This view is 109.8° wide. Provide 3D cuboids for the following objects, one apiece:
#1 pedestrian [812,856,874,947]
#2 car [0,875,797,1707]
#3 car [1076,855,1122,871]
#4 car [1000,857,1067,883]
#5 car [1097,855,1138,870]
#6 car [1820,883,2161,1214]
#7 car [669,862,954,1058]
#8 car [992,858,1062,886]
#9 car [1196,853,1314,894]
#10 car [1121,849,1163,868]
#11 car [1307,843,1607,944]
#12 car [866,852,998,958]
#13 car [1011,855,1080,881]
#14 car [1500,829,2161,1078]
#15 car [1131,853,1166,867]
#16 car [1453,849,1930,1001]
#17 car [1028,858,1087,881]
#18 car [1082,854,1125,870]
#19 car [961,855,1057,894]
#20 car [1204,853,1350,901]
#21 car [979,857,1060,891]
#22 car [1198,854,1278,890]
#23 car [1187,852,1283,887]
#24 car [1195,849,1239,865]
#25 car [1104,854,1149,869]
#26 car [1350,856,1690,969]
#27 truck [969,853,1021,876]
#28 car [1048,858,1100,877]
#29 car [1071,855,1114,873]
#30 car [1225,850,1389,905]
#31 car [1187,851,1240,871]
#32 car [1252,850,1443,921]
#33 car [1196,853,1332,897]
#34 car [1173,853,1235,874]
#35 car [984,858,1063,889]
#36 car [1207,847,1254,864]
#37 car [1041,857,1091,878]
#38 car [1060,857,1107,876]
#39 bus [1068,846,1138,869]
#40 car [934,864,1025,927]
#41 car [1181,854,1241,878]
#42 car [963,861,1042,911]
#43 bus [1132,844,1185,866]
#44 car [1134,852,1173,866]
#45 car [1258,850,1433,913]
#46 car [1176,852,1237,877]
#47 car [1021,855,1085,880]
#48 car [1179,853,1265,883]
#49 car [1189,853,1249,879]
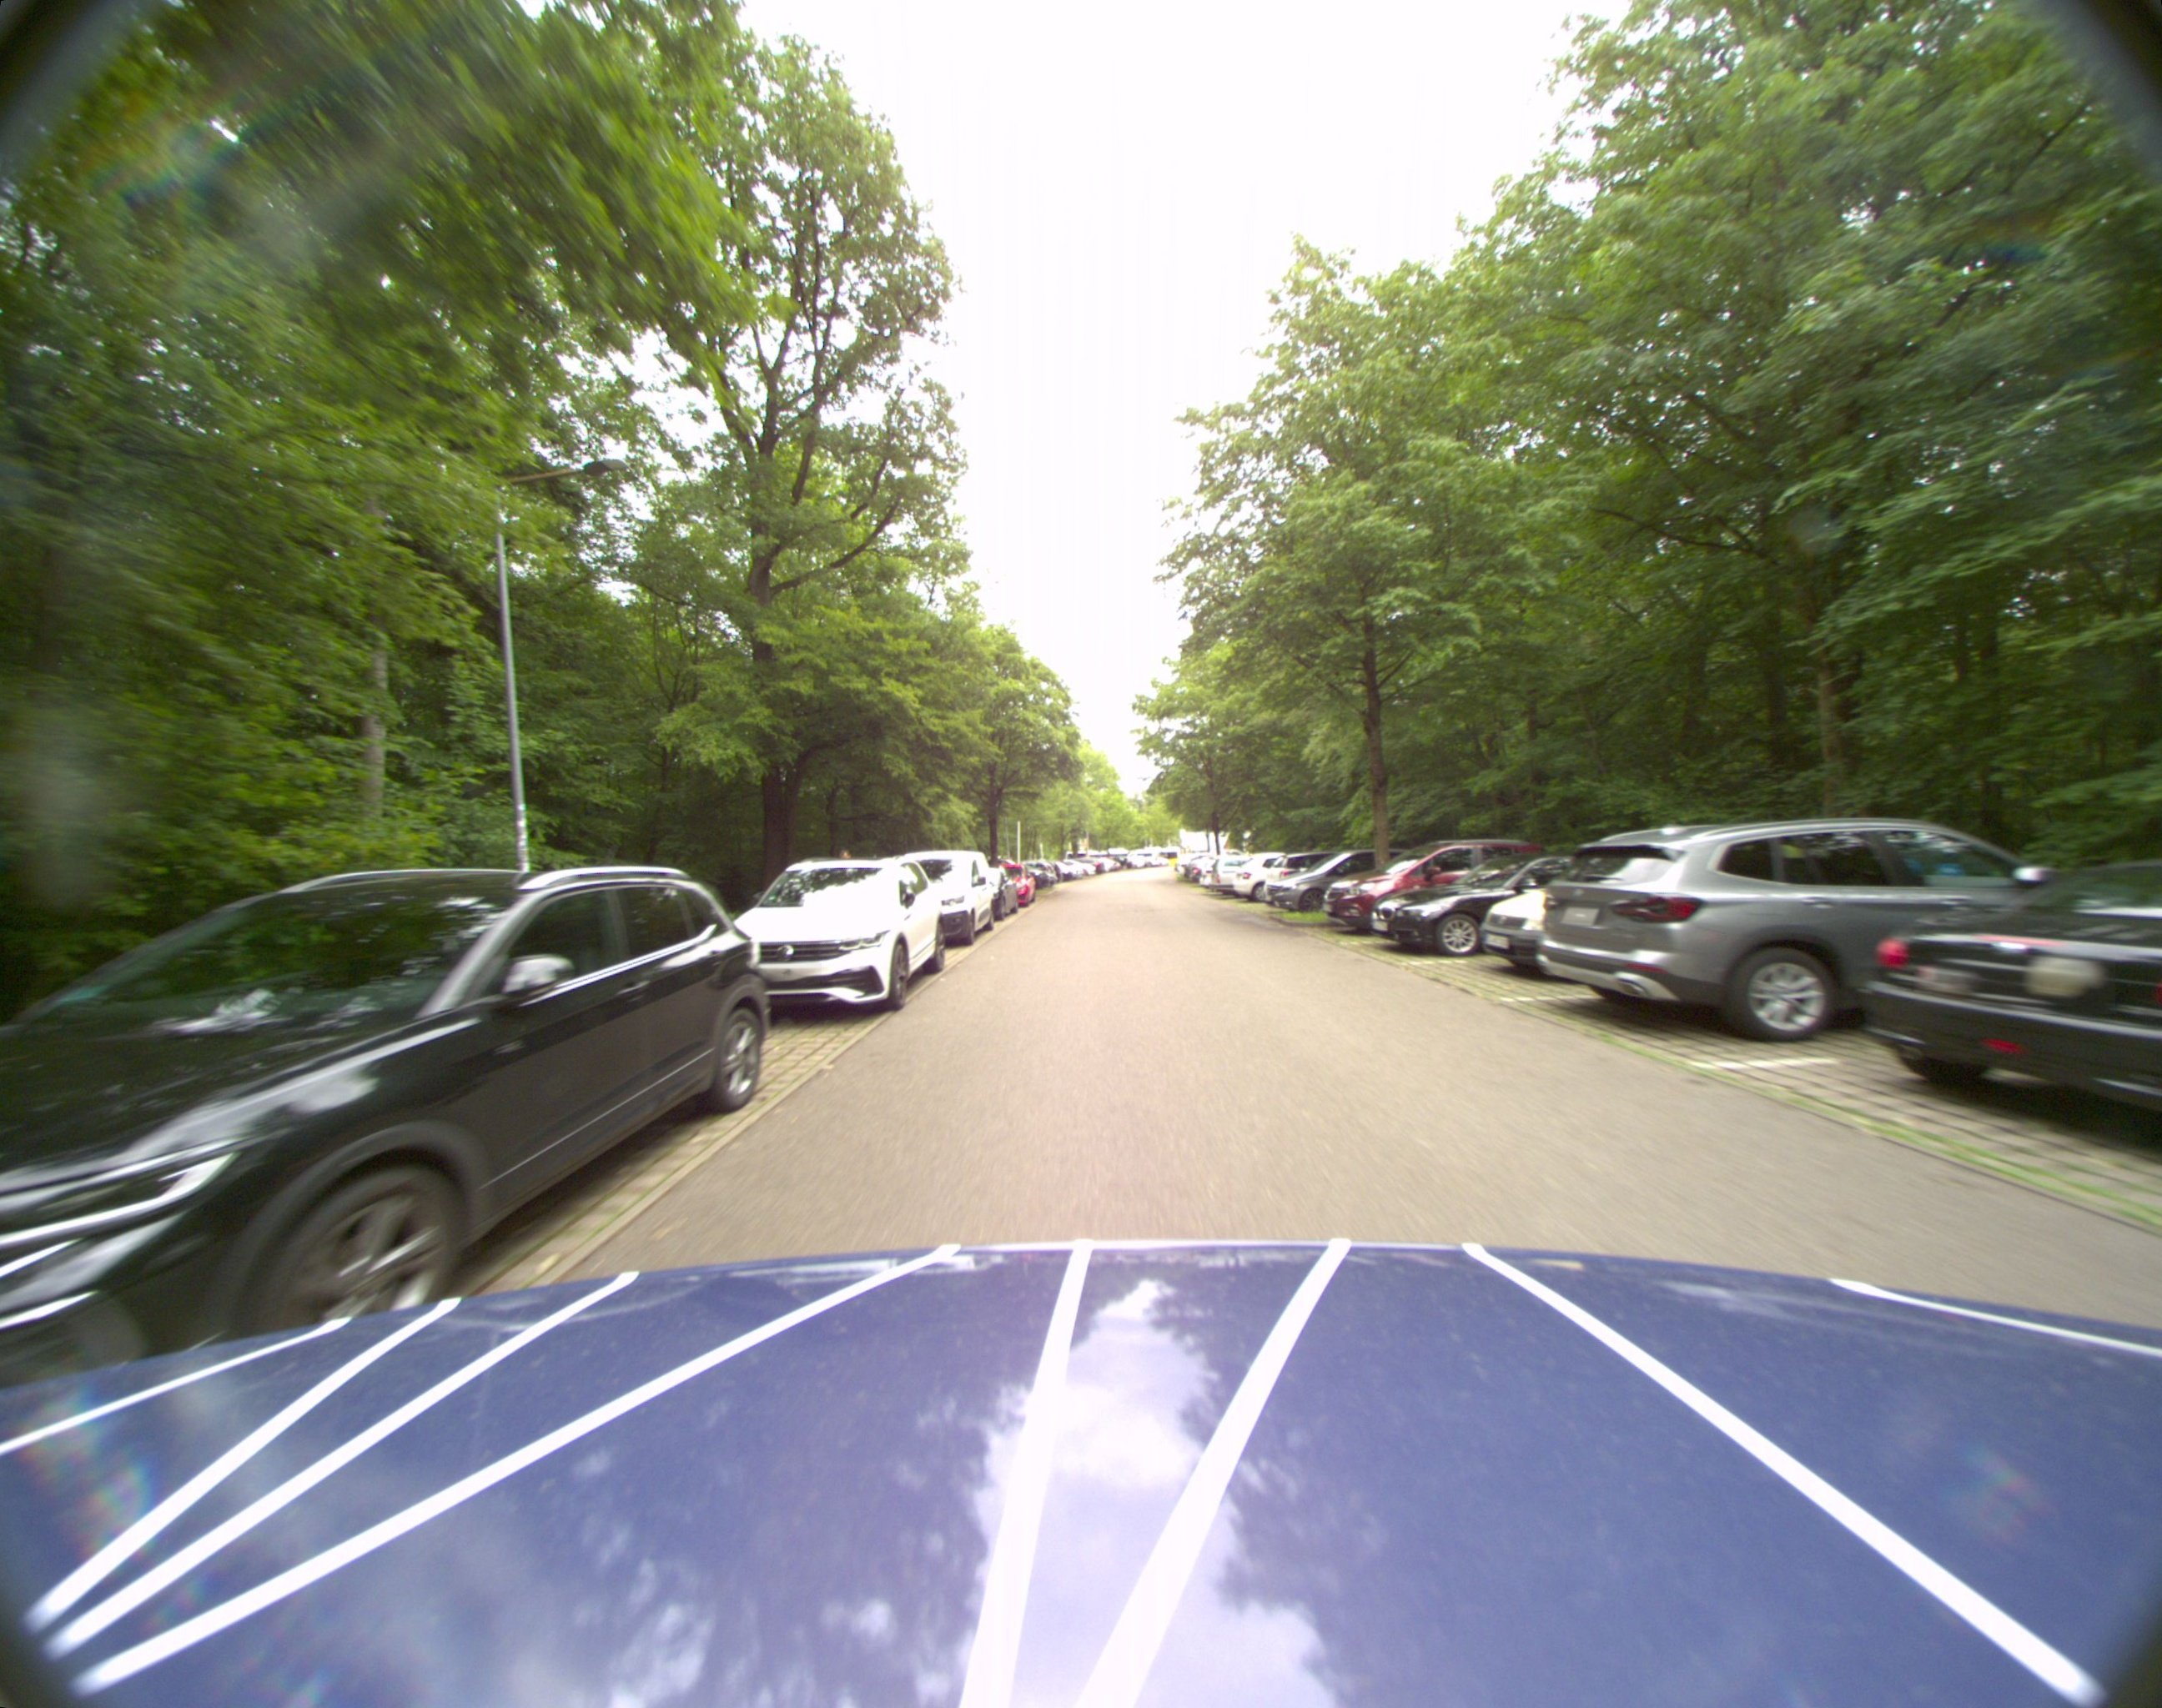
[{"bbox_3d":[-4.768,0.927,15.279,0.819,1.715,1.004,-3,0,2],"label":"pedestrian"},{"bbox_3d":[-3.044,0.984,3.515,1.755,1.598,4.446,-2,0,0],"label":"car"},{"bbox_3d":[1.761,0.878,74.230,4.132,1.453,1.867,-2,1,14],"label":"car"},{"bbox_3d":[-2.878,0.989,46.859,3.835,1.449,1.809,-2,1,6],"label":"car"},{"bbox_3d":[3.970,0.884,81.730,3.992,1.474,1.924,-2,0,16],"label":"car"},{"bbox_3d":[6.645,0.831,3.890,3.990,1.302,1.810,-3,0,-2],"label":"car"},{"bbox_3d":[-2.806,0.971,9.181,1.790,1.652,4.717,-2,0,-1],"label":"car"},{"bbox_3d":[-3.161,1.020,44.698,3.835,1.522,1.851,-1,0,5],"label":"car"},{"bbox_3d":[7.106,0.767,31.311,4.377,1.477,1.891,-2,1,0],"label":"car"},{"bbox_3d":[7.546,0.560,93.850,4.654,2.008,2.087,-4,-2,20],"label":"car"},{"bbox_3d":[6.727,0.678,13.972,4.526,1.575,1.927,-2,0,1],"label":"car"},{"bbox_3d":[-2.836,0.901,15.464,1.749,1.770,4.552,-2,0,0],"label":"car"},{"bbox_3d":[-2.281,0.897,49.527,4.196,1.503,1.894,-2,-1,4],"label":"car"},{"bbox_3d":[6.270,0.715,6.459,4.235,1.623,2.029,-3,0,1],"label":"car"},{"bbox_3d":[8.573,0.804,96.383,4.001,1.546,1.950,-4,-2,26],"label":"car"},{"bbox_3d":[6.809,0.755,8.860,4.032,1.456,1.799,-2,0,2],"label":"car"},{"bbox_3d":[-1.642,1.101,54.561,3.985,1.475,1.885,-2,-1,5],"label":"car"},{"bbox_3d":[2.321,0.831,76.956,3.993,1.441,1.943,-2,0,12],"label":"car"},{"bbox_3d":[-3.442,0.973,36.745,4.275,1.656,1.959,-2,0,4],"label":"car"},{"bbox_3d":[6.671,0.770,26.271,4.573,1.477,1.870,-2,0,2],"label":"car"},{"bbox_3d":[-3.142,1.017,39.308,3.997,1.542,1.975,-2,0,-1],"label":"car"},{"bbox_3d":[6.921,0.772,33.732,3.226,1.436,1.680,-2,0,1],"label":"car"},{"bbox_3d":[7.294,0.736,36.415,4.274,1.477,2.058,-2,0,6],"label":"car"},{"bbox_3d":[14.354,0.308,80.092,4.360,1.588,2.033,-2,0,17],"label":"car"},{"bbox_3d":[5.224,0.873,86.821,4.777,1.467,1.855,-2,-1,19],"label":"car"},{"bbox_3d":[6.330,0.804,11.293,3.997,1.356,1.786,-3,0,0],"label":"car"},{"bbox_3d":[-14.595,1.746,128.728,8.232,3.493,2.872,-2,-1,15],"label":"truck"},{"bbox_3d":[-0.547,1.079,62.039,3.939,1.402,1.879,-2,-1,9],"label":"car"},{"bbox_3d":[1.115,0.949,72.043,3.707,1.502,1.753,-2,1,12],"label":"car"},{"bbox_3d":[7.037,0.705,24.048,4.574,1.477,1.941,-2,0,0],"label":"car"},{"bbox_3d":[10.952,0.545,63.103,4.241,1.524,1.764,-2,0,9],"label":"car"},{"bbox_3d":[6.511,0.743,18.930,4.044,1.546,1.919,-2,0,0],"label":"car"},{"bbox_3d":[6.803,0.768,28.614,4.575,1.439,2.085,-2,0,-2],"label":"car"},{"bbox_3d":[9.450,0.690,58.487,4.648,1.469,2.096,-2,0,9],"label":"car"},{"bbox_3d":[-3.145,1.064,41.960,3.995,1.466,1.953,-2,0,5],"label":"car"},{"bbox_3d":[17.596,0.181,89.162,5.091,1.904,1.981,-2,0,21],"label":"car"},{"bbox_3d":[-1.194,1.066,59.535,3.804,1.432,1.870,-2,-1,-1],"label":"car"},{"bbox_3d":[0.215,1.035,64.396,3.775,1.472,1.775,-2,-1,7],"label":"car"},{"bbox_3d":[3.444,0.537,118.648,10.517,3.139,2.811,-2,-2,-8],"label":"bus"},{"bbox_3d":[-2.652,1.047,20.788,1.729,1.414,4.284,-2,0,2],"label":"car"},{"bbox_3d":[8.270,0.775,48.617,3.734,1.411,1.873,-2,0,7],"label":"car"},{"bbox_3d":[-2.602,1.034,26.426,1.998,1.470,4.972,-2,0,2],"label":"car"},{"bbox_3d":[12.245,0.199,120.025,7.756,3.139,2.811,-2,-2,-8],"label":"bus"},{"bbox_3d":[9.439,0.645,98.727,4.524,1.683,2.169,-2,0,25],"label":"car"},{"bbox_3d":[7.385,0.735,21.442,4.246,1.541,1.847,-2,0,-4],"label":"car"},{"bbox_3d":[8.809,0.736,53.361,3.965,1.618,2.000,-2,0,16],"label":"car"},{"bbox_3d":[-1.914,0.938,52.032,4.016,1.549,1.979,-2,-1,9],"label":"car"},{"bbox_3d":[7.629,0.754,41.427,4.414,1.416,2.036,-2,0,6],"label":"car"},{"bbox_3d":[8.358,0.720,46.204,3.472,1.472,1.684,-1,0,7],"label":"car"}]
